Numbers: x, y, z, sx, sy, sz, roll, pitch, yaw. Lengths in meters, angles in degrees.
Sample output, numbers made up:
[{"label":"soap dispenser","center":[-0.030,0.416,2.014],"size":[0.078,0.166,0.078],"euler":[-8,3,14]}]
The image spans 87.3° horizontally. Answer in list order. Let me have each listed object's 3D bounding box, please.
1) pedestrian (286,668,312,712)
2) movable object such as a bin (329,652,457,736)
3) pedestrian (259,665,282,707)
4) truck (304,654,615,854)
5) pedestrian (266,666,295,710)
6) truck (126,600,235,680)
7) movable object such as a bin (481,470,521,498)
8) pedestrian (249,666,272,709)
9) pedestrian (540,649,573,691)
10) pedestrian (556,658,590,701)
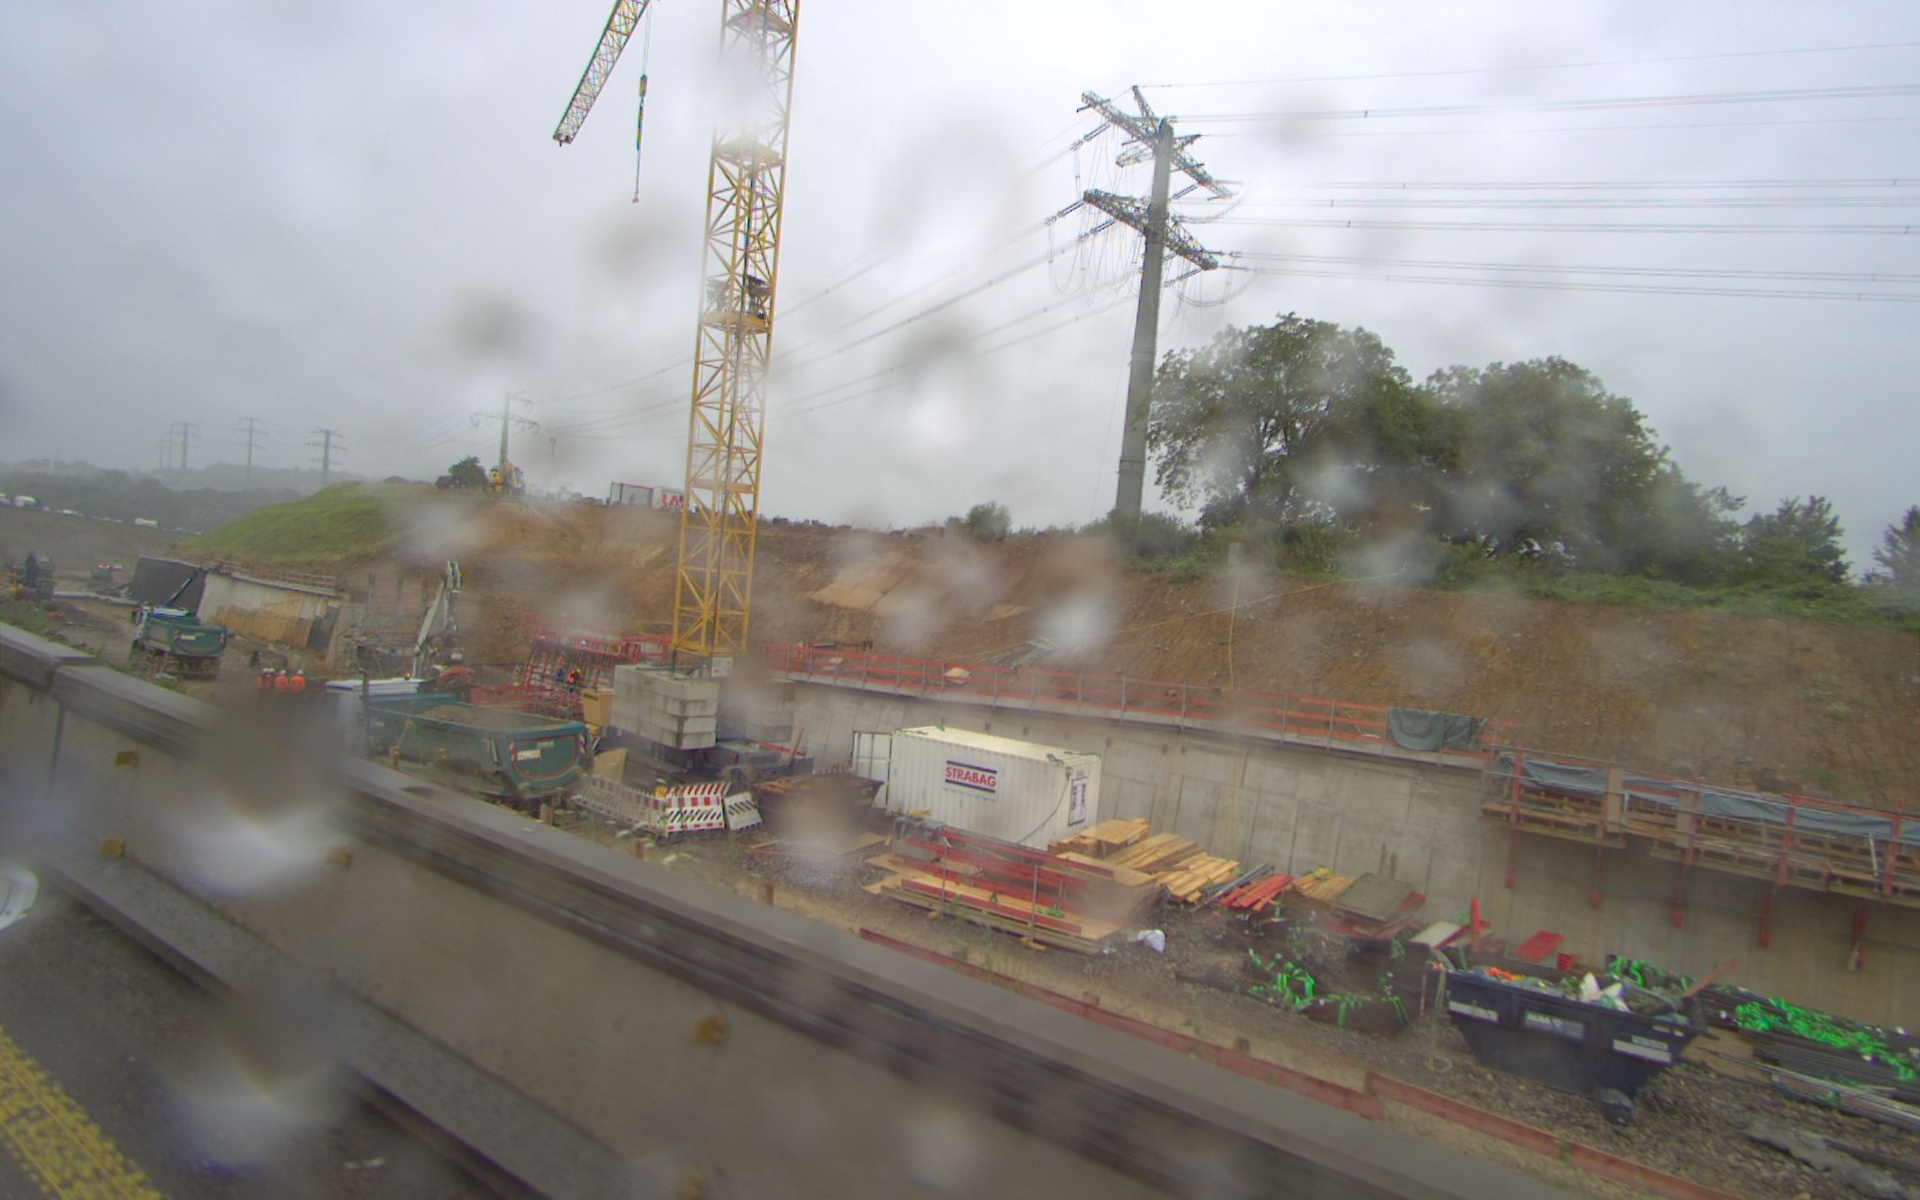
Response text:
[{"label":"pedestrian","center":[-31.097,4.234,47.343],"size":[0.724,1.967,0.573],"euler":[7,0,-17]},{"label":"movable object such as a bin","center":[-21.970,3.652,39.014],"size":[2.922,2.770,3.153],"euler":[6,-2,35]},{"label":"pedestrian","center":[-33.072,4.119,48.262],"size":[0.567,1.892,0.732],"euler":[7,0,-19]},{"label":"truck","center":[-13.248,3.748,26.304],"size":[8.799,3.545,2.704],"euler":[6,-1,31]},{"label":"pedestrian","center":[-31.918,4.129,47.265],"size":[0.721,1.967,0.576],"euler":[7,0,7]},{"label":"truck","center":[-44.527,2.203,57.339],"size":[8.934,3.532,2.728],"euler":[6,-2,40]},{"label":"movable object such as a bin","center":[-50.612,-12.796,110.868],"size":[3.913,2.473,2.426],"euler":[8,0,42]},{"label":"pedestrian","center":[-32.898,4.108,47.325],"size":[0.725,1.892,0.573],"euler":[6,-1,41]},{"label":"pedestrian","center":[-21.797,3.777,54.348],"size":[0.886,2.013,0.907],"euler":[5,-11,39]},{"label":"pedestrian","center":[-20.535,4.216,53.325],"size":[0.886,2.013,0.907],"euler":[5,-11,39]}]
